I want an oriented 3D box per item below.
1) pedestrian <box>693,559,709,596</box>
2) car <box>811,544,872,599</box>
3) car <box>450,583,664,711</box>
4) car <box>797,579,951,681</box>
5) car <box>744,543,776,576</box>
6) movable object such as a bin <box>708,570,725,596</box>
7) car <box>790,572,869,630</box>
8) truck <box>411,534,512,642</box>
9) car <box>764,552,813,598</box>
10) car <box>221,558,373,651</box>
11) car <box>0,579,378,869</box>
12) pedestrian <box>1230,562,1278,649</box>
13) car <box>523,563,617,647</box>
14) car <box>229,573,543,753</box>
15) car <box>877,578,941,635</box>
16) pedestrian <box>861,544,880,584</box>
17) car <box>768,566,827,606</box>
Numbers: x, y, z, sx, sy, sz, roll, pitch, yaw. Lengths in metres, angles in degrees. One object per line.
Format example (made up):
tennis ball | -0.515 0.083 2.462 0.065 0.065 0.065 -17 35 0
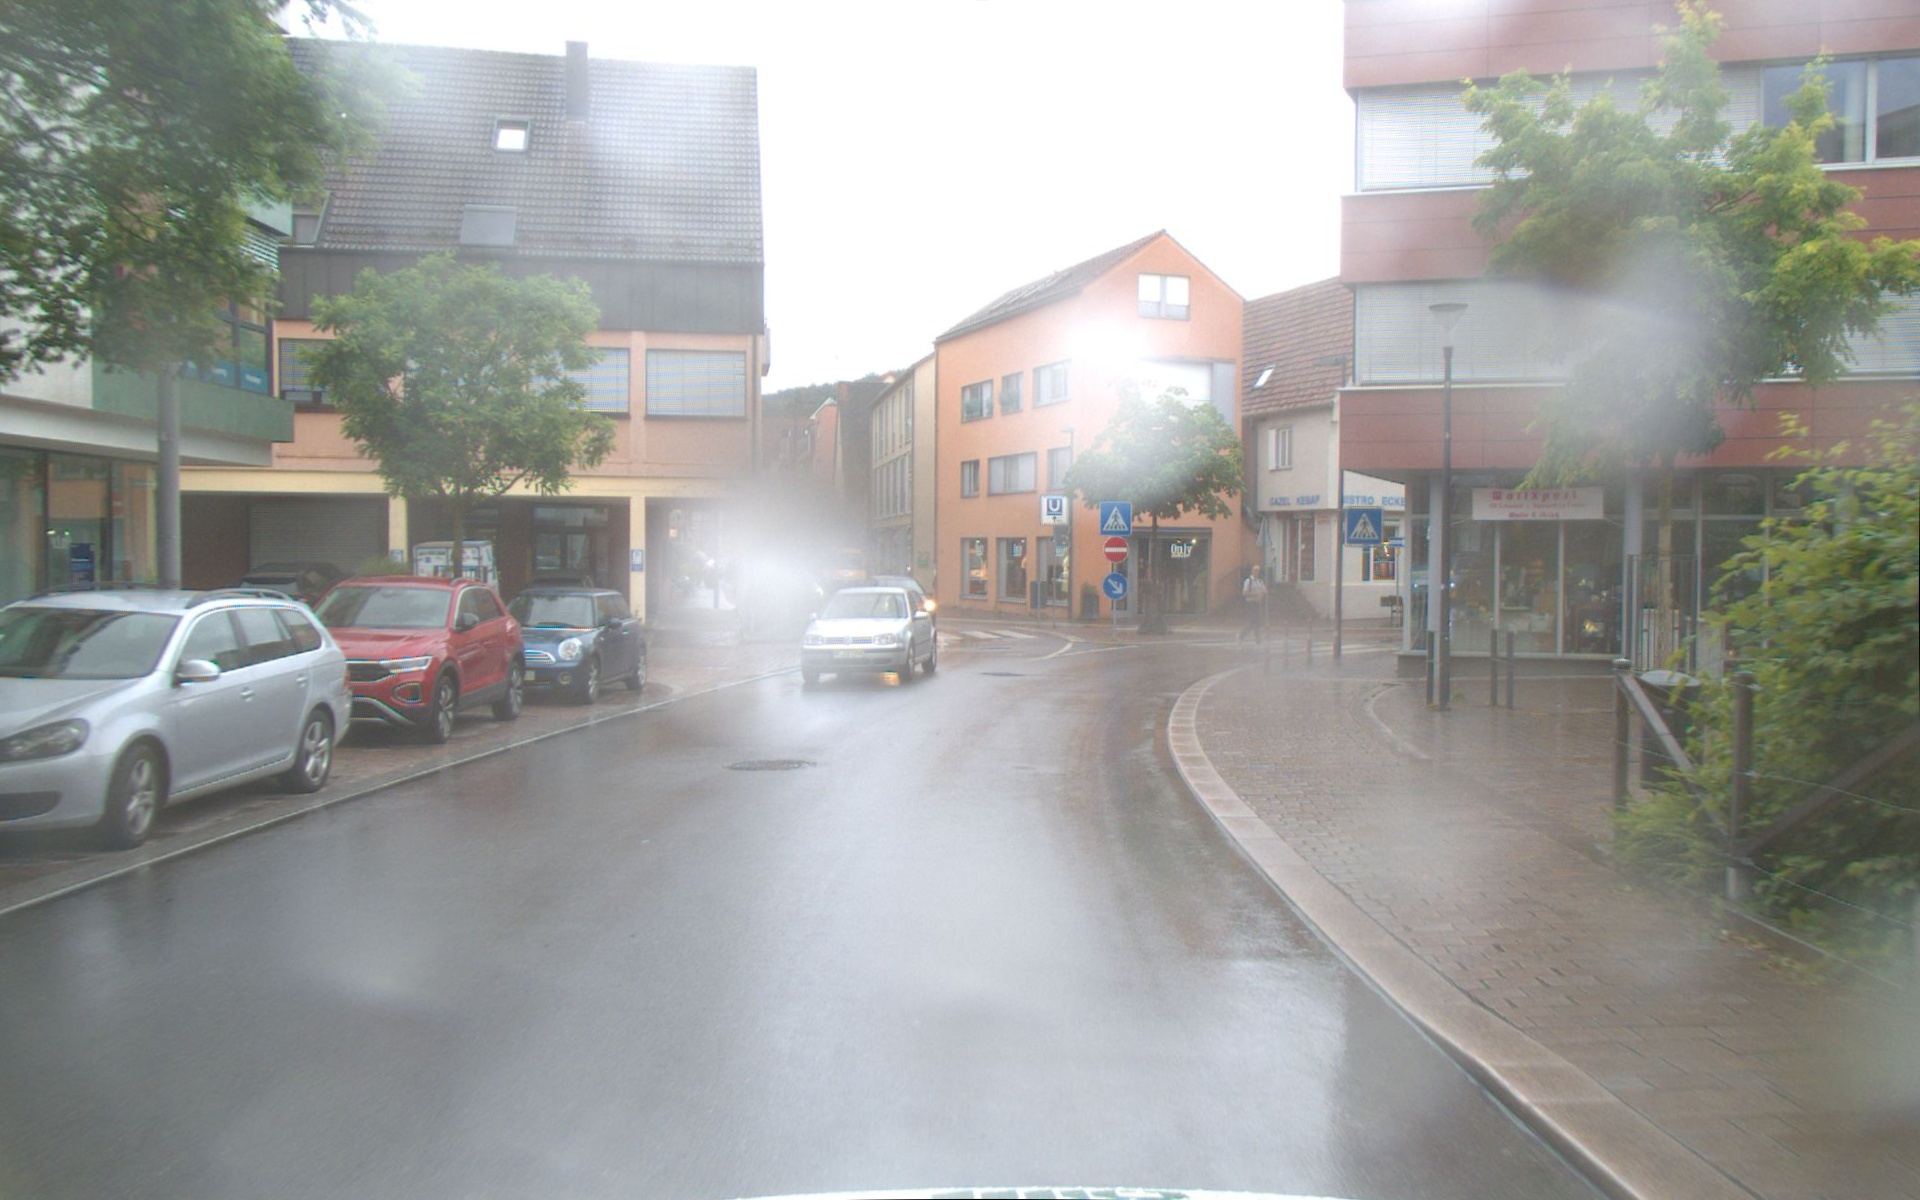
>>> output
pedestrian | -14.232 -1.239 90.820 0.820 2.048 0.851 0 1 -14
car | -5.129 -1.213 70.992 2.066 2.183 4.856 -2 1 -10
car | -5.223 0.547 21.948 1.679 1.483 3.912 1 1 3
car | -1.293 0.422 26.577 1.752 1.442 4.032 -2 1 7
car | -12.924 -2.582 107.075 1.955 2.048 4.357 -2 1 -7
movable object such as a bin | -13.025 -0.913 88.321 0.820 1.406 0.851 0 1 -14
car | -3.641 0.000 45.525 1.684 1.483 3.899 1 1 -12
truck | -11.090 -0.320 36.975 1.566 2.097 3.190 -2 5 -7
car | -8.770 -1.262 84.324 2.066 2.183 4.856 -2 1 -10
car | -14.202 0.053 35.679 1.776 1.645 4.001 0 5 -3
car | -5.543 0.645 10.964 1.750 1.525 4.455 0 0 0
pedestrian | 6.706 0.120 37.711 0.847 1.948 0.755 1 1 36
car | -8.742 0.067 37.289 1.547 1.504 3.821 0 5 -6
car | -5.680 0.549 16.928 1.750 1.604 4.107 0 0 0
car | -1.467 0.153 46.210 1.616 1.471 3.981 -1 1 -4
pedestrian | -4.504 -1.808 83.151 0.851 2.049 0.705 0 1 -13
car | -6.274 -0.548 63.415 1.957 1.466 4.155 0 1 -10
